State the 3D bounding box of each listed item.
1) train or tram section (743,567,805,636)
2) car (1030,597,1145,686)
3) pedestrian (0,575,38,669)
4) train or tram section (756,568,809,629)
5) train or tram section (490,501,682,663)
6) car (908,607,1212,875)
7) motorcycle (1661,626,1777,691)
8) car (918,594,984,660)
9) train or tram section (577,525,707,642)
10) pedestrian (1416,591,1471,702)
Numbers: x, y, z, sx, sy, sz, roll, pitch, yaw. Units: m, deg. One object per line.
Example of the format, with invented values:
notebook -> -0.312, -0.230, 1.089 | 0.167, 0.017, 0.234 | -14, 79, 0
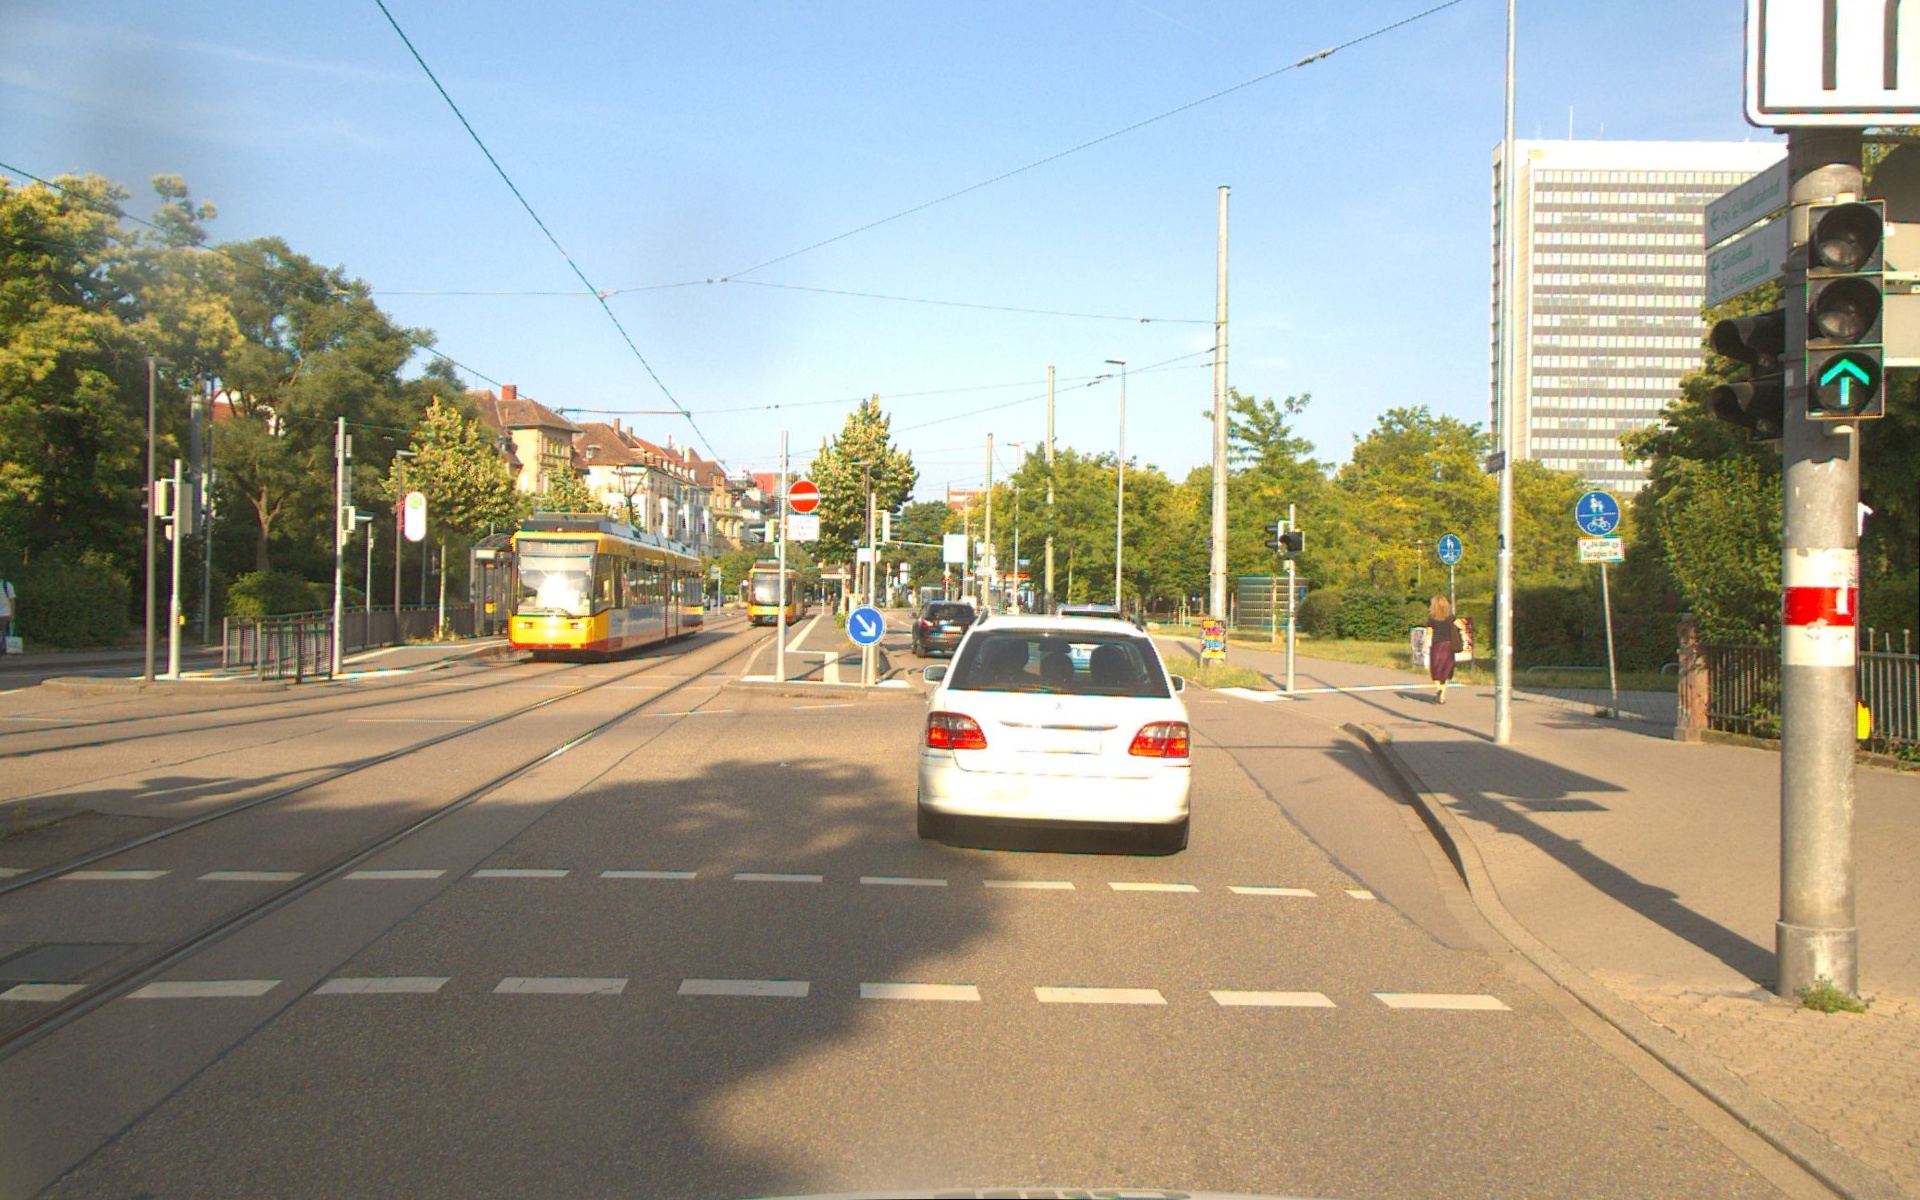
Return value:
train or tram section -> -10.301, 0.017, 92.852 | 2.793, 3.540, 13.189 | 2, 0, -4
car -> 2.529, 0.795, 33.734 | 1.991, 1.633, 4.000 | 2, 0, 0
pedestrian -> -19.896, 0.448, 34.476 | 0.986, 1.943, 0.705 | 2, 0, -17
train or tram section -> -11.241, -0.129, 105.787 | 2.793, 3.540, 13.188 | 2, 0, -4
train or tram section -> -9.603, -0.456, 44.367 | 3.100, 3.540, 14.516 | 2, 0, -5
car -> 0.520, 0.825, 11.538 | 1.723, 1.530, 3.998 | 1, 0, -2
motorcycle -> 14.696, 1.135, 32.038 | 1.960, 1.180, 0.706 | 2, 0, -10
car -> -0.243, 0.722, 46.795 | 1.751, 1.719, 4.000 | 2, 0, 0
train or tram section -> -11.016, -0.565, 58.798 | 3.100, 3.540, 14.455 | 2, 0, -5
pedestrian -> 7.743, 0.743, 26.516 | 0.602, 1.721, 0.548 | -4, 0, -1
